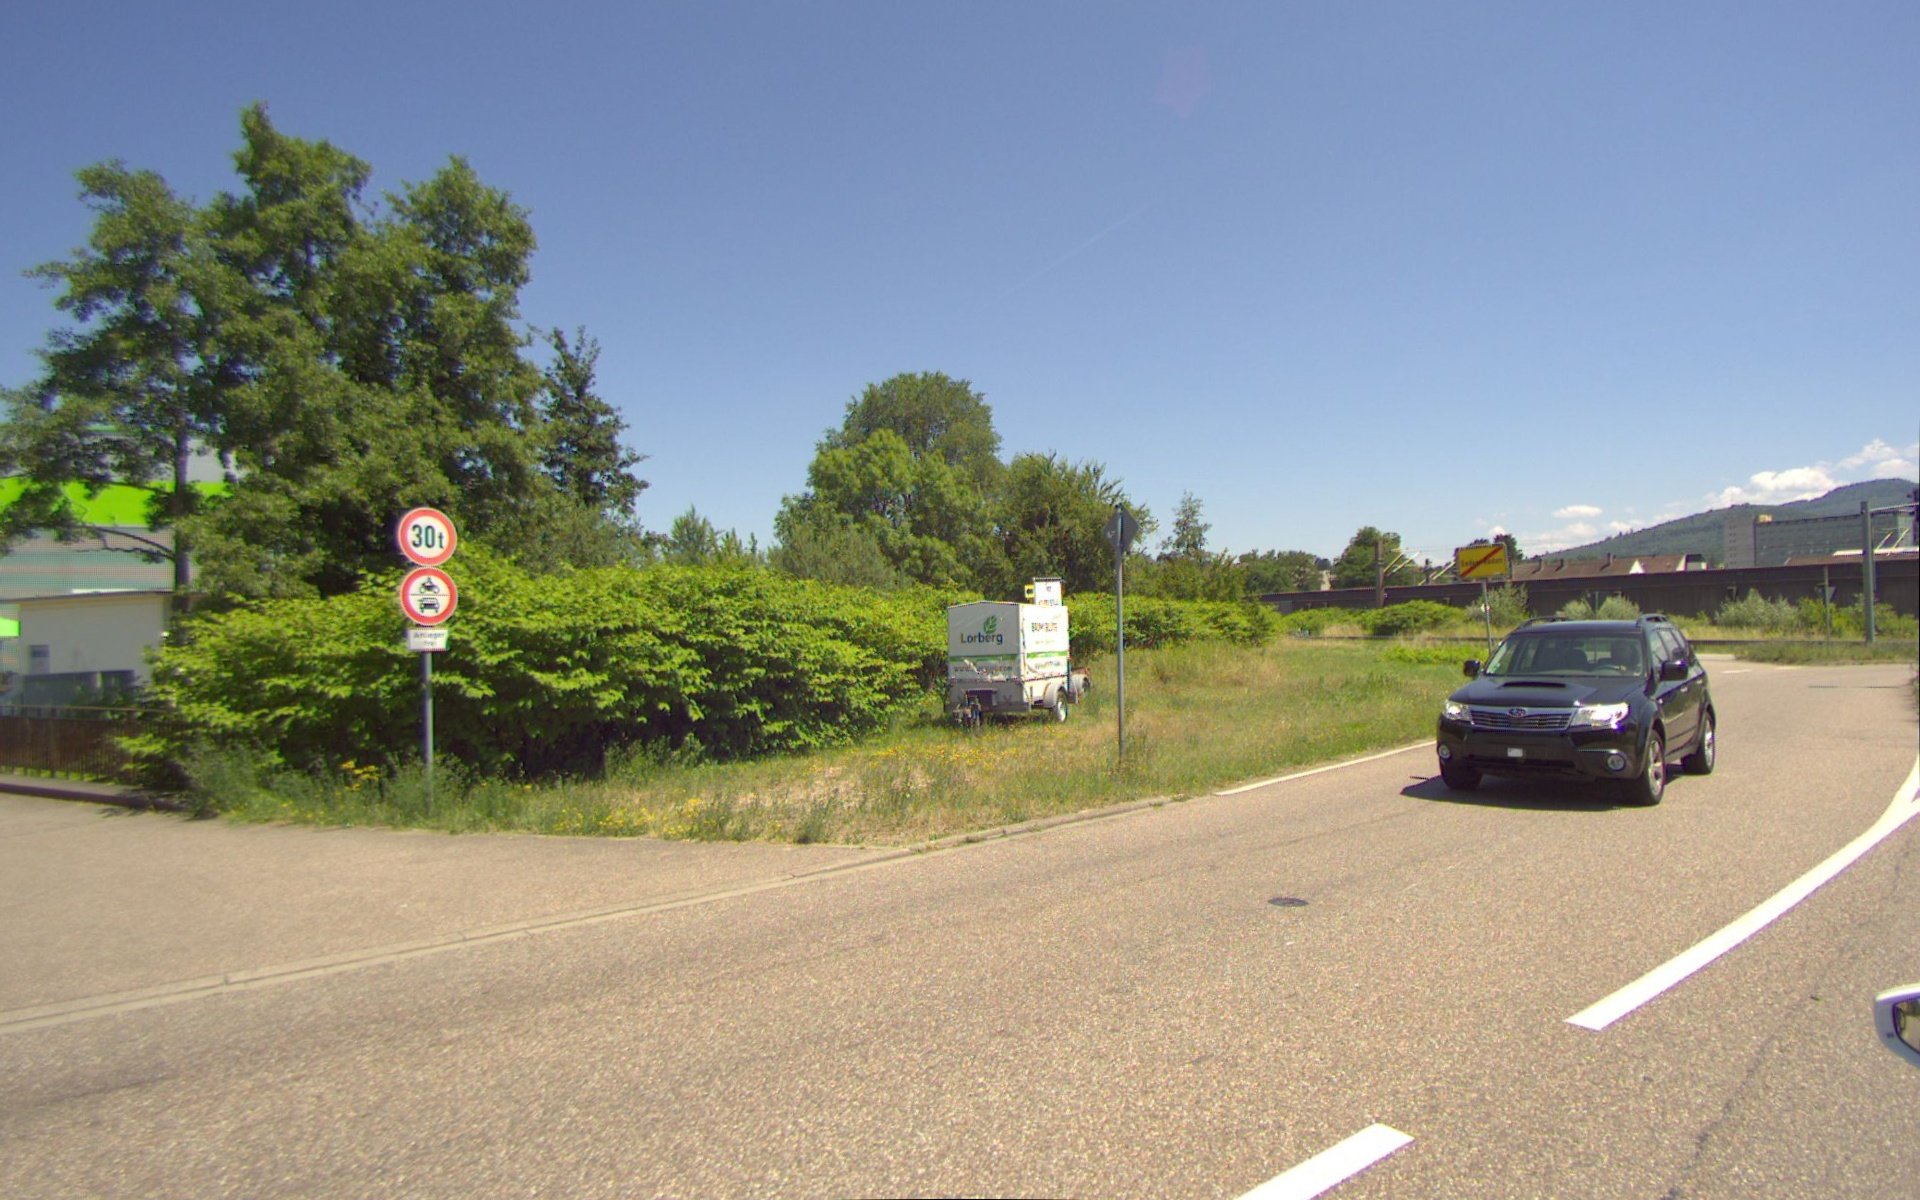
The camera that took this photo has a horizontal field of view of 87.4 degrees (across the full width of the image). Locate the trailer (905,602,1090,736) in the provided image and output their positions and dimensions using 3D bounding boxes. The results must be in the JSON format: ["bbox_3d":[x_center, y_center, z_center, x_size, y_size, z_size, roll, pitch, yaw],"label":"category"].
[{"bbox_3d":[0.772,1.089,17.425,1.821,2.040,3.957,0,-1,25],"label":"trailer"}]

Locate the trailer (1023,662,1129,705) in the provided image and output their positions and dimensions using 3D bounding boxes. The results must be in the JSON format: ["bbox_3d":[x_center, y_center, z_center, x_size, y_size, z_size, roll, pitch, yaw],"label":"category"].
[{"bbox_3d":[2.624,1.812,22.319,1.536,0.748,2.850,0,-1,25],"label":"trailer"}]

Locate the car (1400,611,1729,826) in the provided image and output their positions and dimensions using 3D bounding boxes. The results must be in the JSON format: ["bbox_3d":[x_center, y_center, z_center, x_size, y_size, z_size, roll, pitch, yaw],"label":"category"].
[{"bbox_3d":[6.256,1.003,10.212,3.973,1.725,1.884,0,-2,-44],"label":"car"}]
